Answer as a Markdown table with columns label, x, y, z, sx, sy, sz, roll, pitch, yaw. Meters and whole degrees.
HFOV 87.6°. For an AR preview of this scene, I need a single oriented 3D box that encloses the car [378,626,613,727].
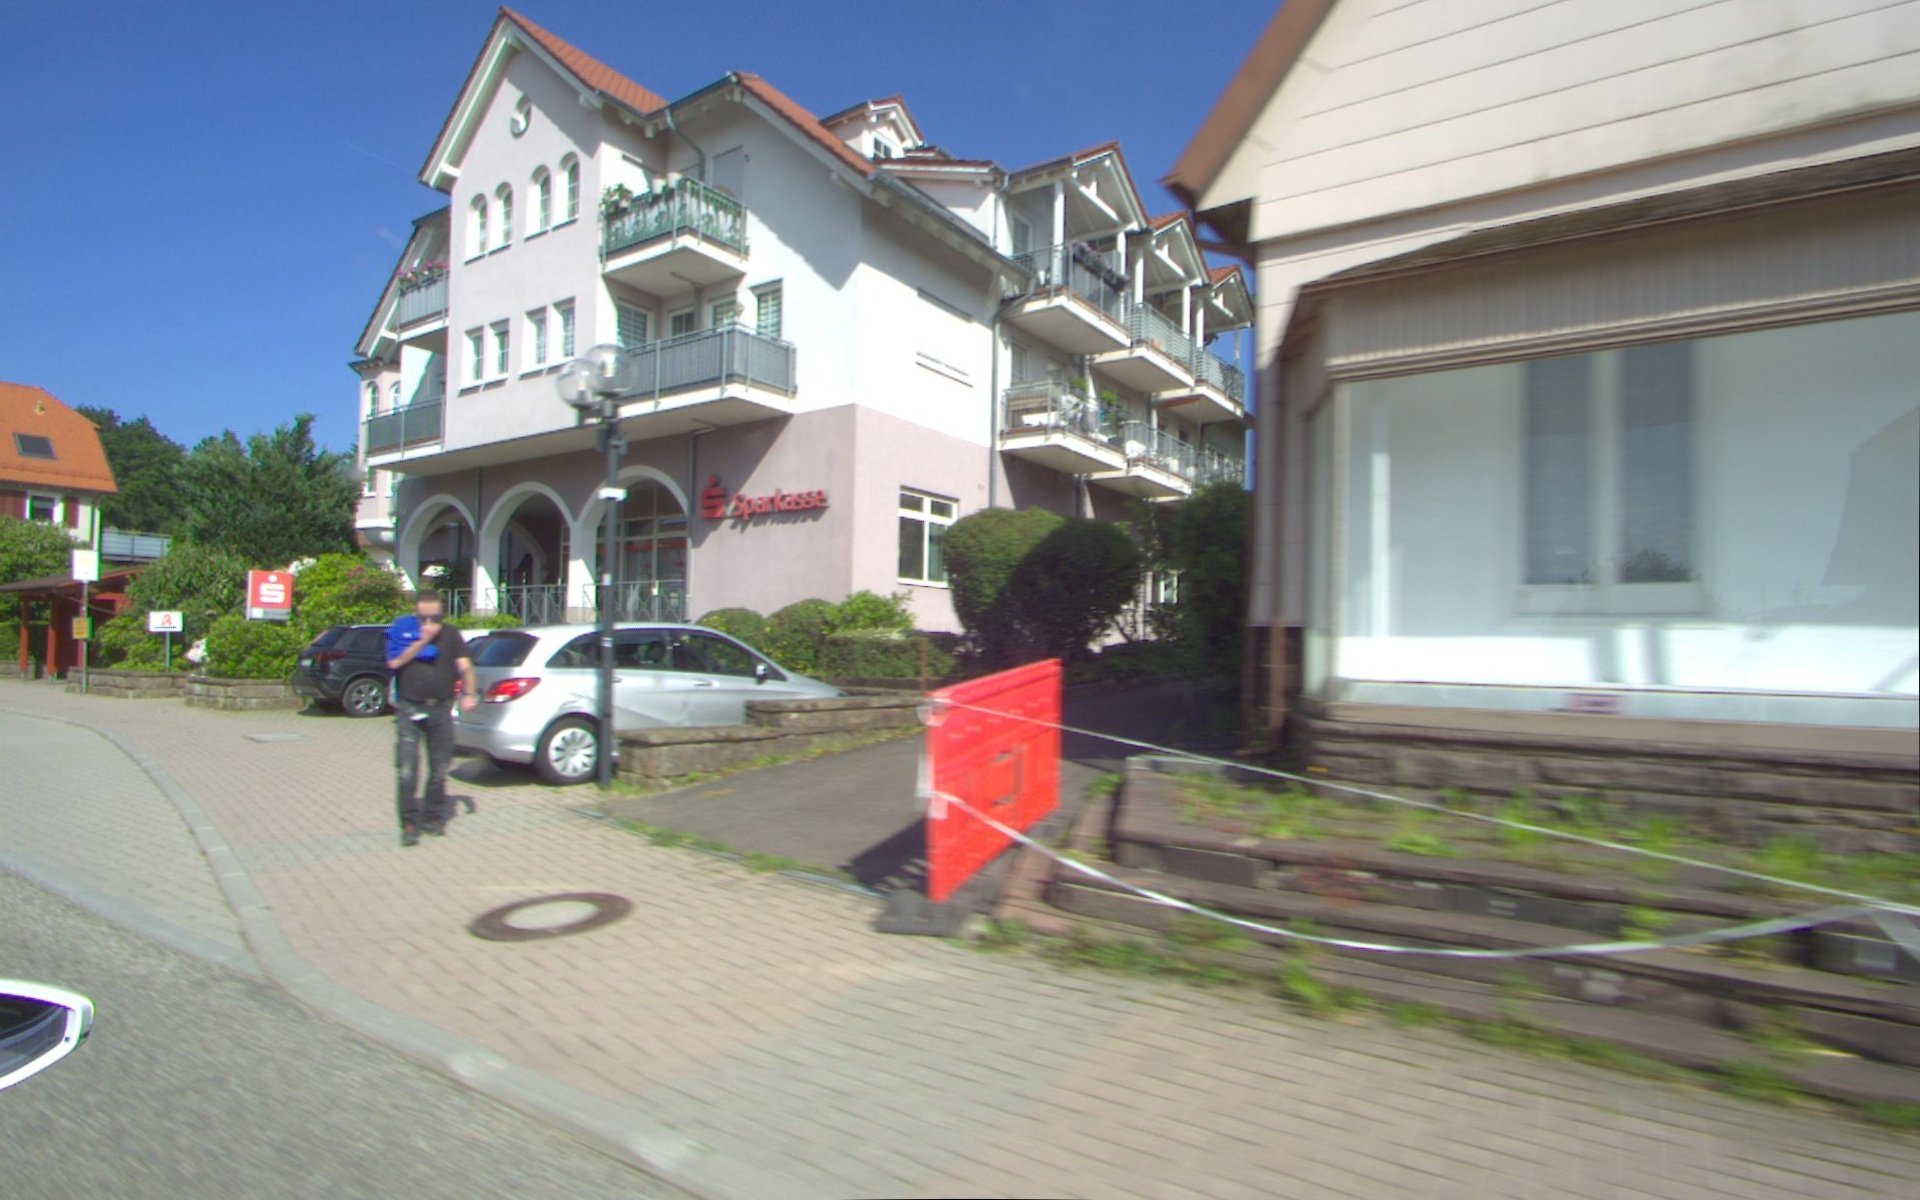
| label | x | y | z | sx | sy | sz | roll | pitch | yaw |
| --- | --- | --- | --- | --- | --- | --- | --- | --- | --- |
| car | -7.700 | 1.193 | 16.761 | 1.610 | 1.488 | 3.217 | 0 | -1 | 42 |

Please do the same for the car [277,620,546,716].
| label | x | y | z | sx | sy | sz | roll | pitch | yaw |
| --- | --- | --- | --- | --- | --- | --- | --- | --- | --- |
| car | -10.020 | 1.148 | 18.545 | 1.856 | 1.568 | 3.974 | 0 | -1 | 37 |

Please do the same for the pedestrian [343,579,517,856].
| label | x | y | z | sx | sy | sz | roll | pitch | yaw |
| --- | --- | --- | --- | --- | --- | --- | --- | --- | --- |
| pedestrian | -3.799 | 0.780 | 7.177 | 0.968 | 1.808 | 0.796 | 0 | 0 | 39 |

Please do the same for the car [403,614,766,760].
| label | x | y | z | sx | sy | sz | roll | pitch | yaw |
| --- | --- | --- | --- | --- | --- | --- | --- | --- | --- |
| car | -4.647 | 1.054 | 12.785 | 1.720 | 1.568 | 3.965 | 0 | -3 | 45 |

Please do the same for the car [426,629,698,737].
| label | x | y | z | sx | sy | sz | roll | pitch | yaw |
| --- | --- | --- | --- | --- | --- | --- | --- | --- | --- |
| car | -5.997 | 1.220 | 15.356 | 1.564 | 1.436 | 3.542 | 0 | -3 | 42 |

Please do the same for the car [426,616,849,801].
| label | x | y | z | sx | sy | sz | roll | pitch | yaw |
| --- | --- | --- | --- | --- | --- | --- | --- | --- | --- |
| car | -3.311 | 1.008 | 10.666 | 3.836 | 1.578 | 1.944 | 2 | -2 | -43 |

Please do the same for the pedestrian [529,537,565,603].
| label | x | y | z | sx | sy | sz | roll | pitch | yaw |
| --- | --- | --- | --- | --- | --- | --- | --- | --- | --- |
| pedestrian | -11.185 | -0.803 | 27.141 | 0.747 | 1.746 | 0.610 | 2 | 2 | 38 |
